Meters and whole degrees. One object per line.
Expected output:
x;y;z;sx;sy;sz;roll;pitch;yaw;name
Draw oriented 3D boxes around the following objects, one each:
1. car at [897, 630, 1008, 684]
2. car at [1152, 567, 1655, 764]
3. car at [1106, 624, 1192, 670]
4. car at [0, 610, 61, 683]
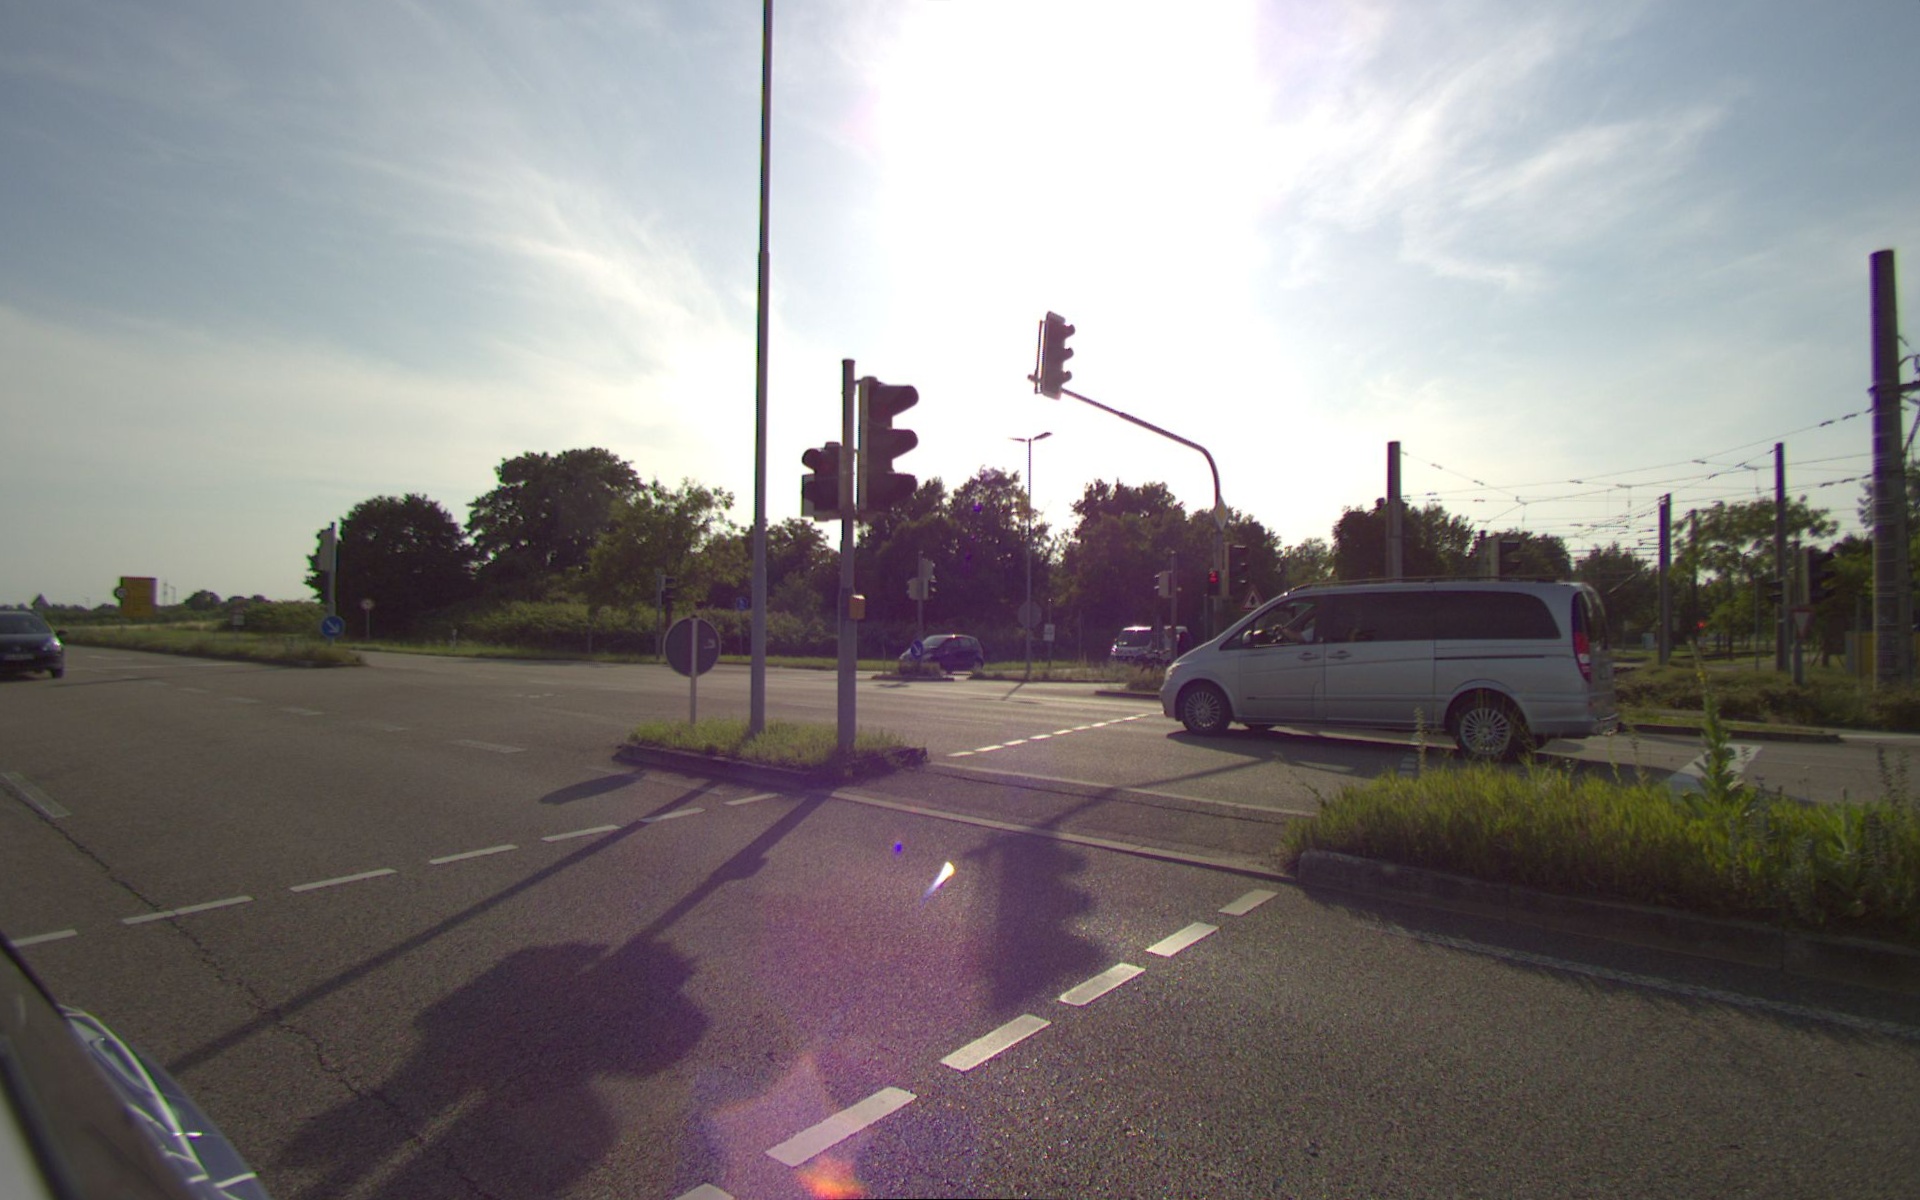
-0.254;2.297;42.028;2.249;1.901;4.787;-1;0;35;car
5.005;0.691;11.924;5.076;1.843;1.973;-1;-4;41;car
9.032;2.174;48.055;2.249;1.901;4.787;-1;0;35;car
-21.550;1.006;22.677;3.998;1.520;1.615;-1;0;41;car
